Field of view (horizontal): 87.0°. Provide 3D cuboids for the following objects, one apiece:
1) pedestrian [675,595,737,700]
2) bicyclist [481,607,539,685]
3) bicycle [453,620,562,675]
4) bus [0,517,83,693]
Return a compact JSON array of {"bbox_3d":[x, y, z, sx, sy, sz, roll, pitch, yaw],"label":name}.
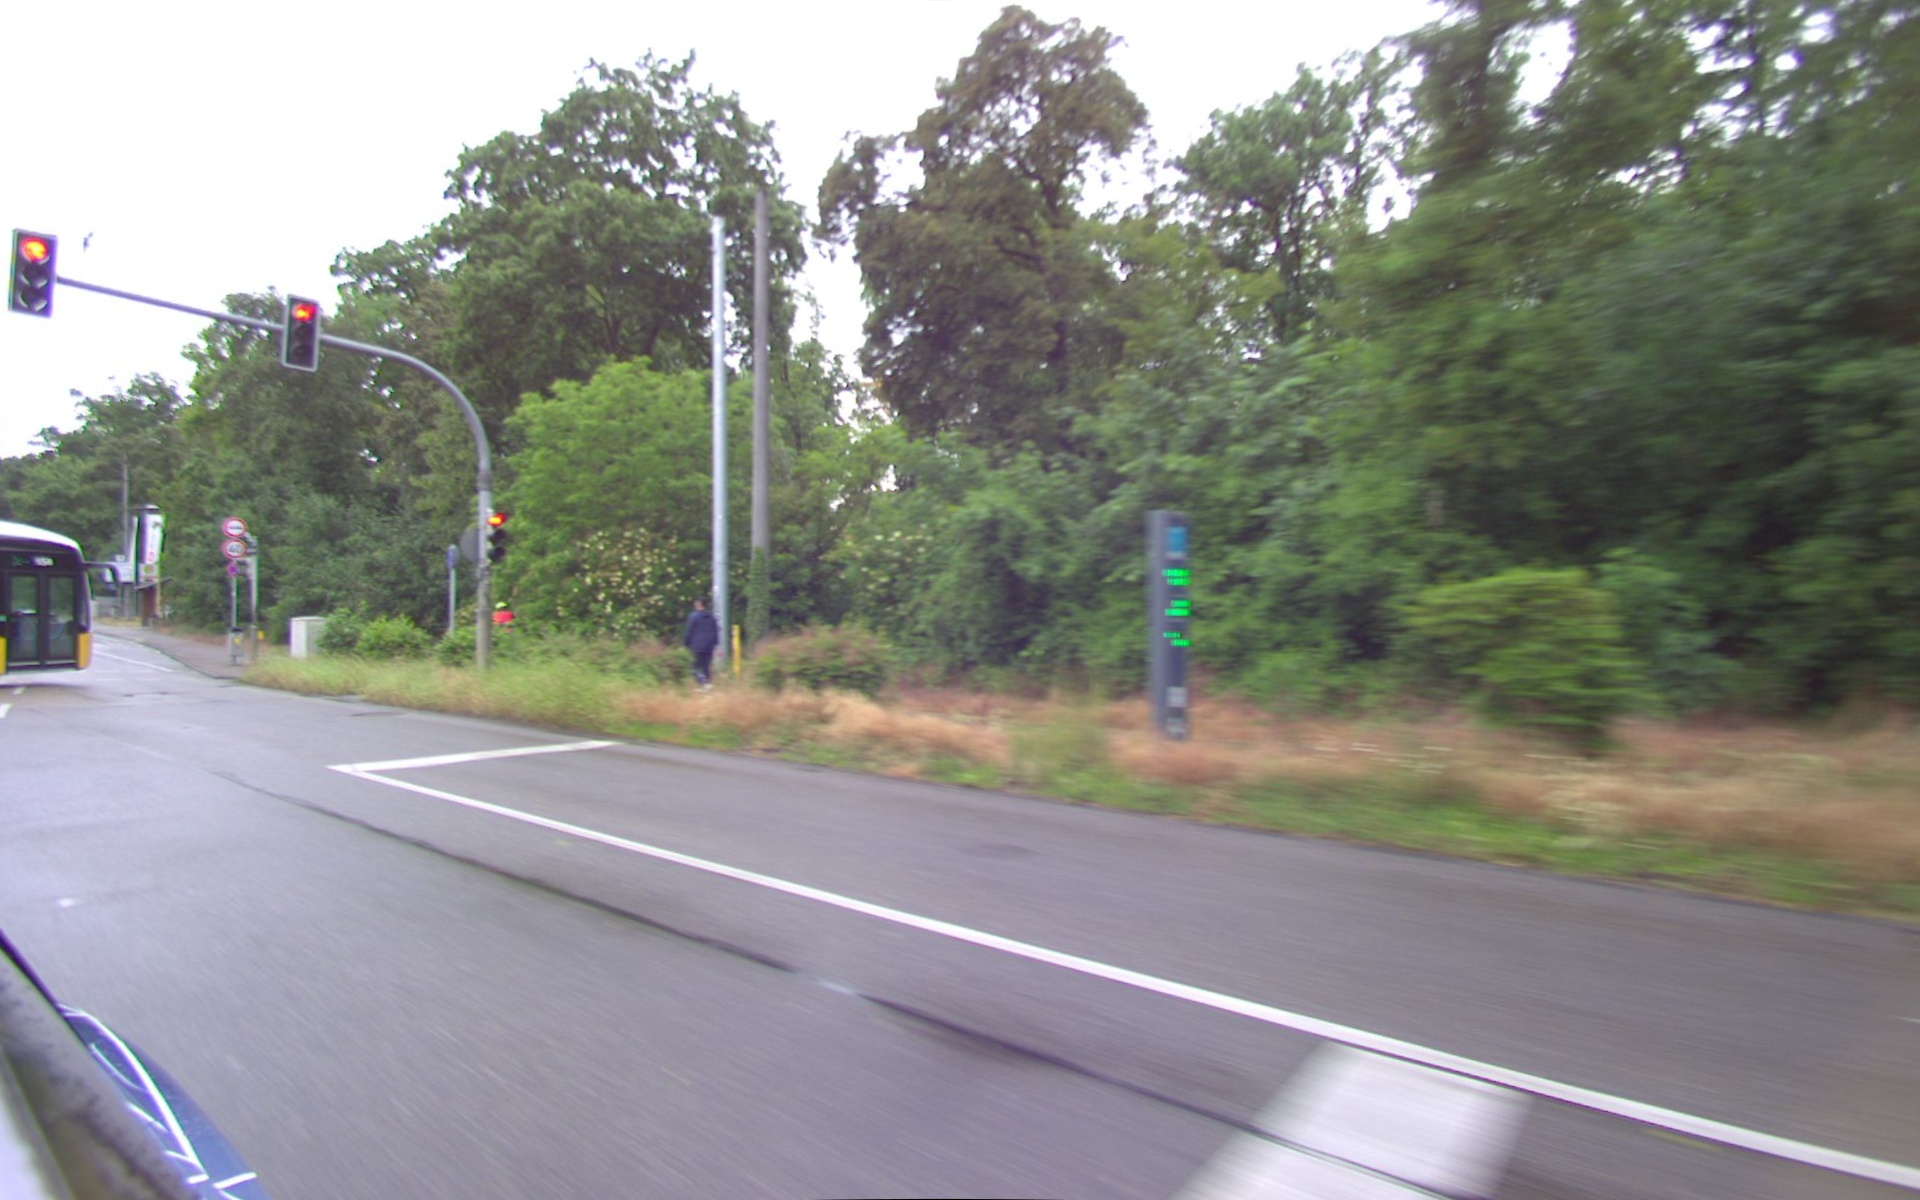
[{"bbox_3d":[-4.542,0.836,18.110,0.763,1.813,0.767,-1,-1,42],"label":"pedestrian"},{"bbox_3d":[-9.907,0.983,22.273,1.033,1.665,0.581,0,0,-44],"label":"bicyclist"},{"bbox_3d":[-9.928,1.022,22.256,2.122,1.105,0.581,0,0,-44],"label":"bicycle"},{"bbox_3d":[-20.750,0.087,17.190,2.879,3.424,9.007,-1,-1,11],"label":"bus"}]
